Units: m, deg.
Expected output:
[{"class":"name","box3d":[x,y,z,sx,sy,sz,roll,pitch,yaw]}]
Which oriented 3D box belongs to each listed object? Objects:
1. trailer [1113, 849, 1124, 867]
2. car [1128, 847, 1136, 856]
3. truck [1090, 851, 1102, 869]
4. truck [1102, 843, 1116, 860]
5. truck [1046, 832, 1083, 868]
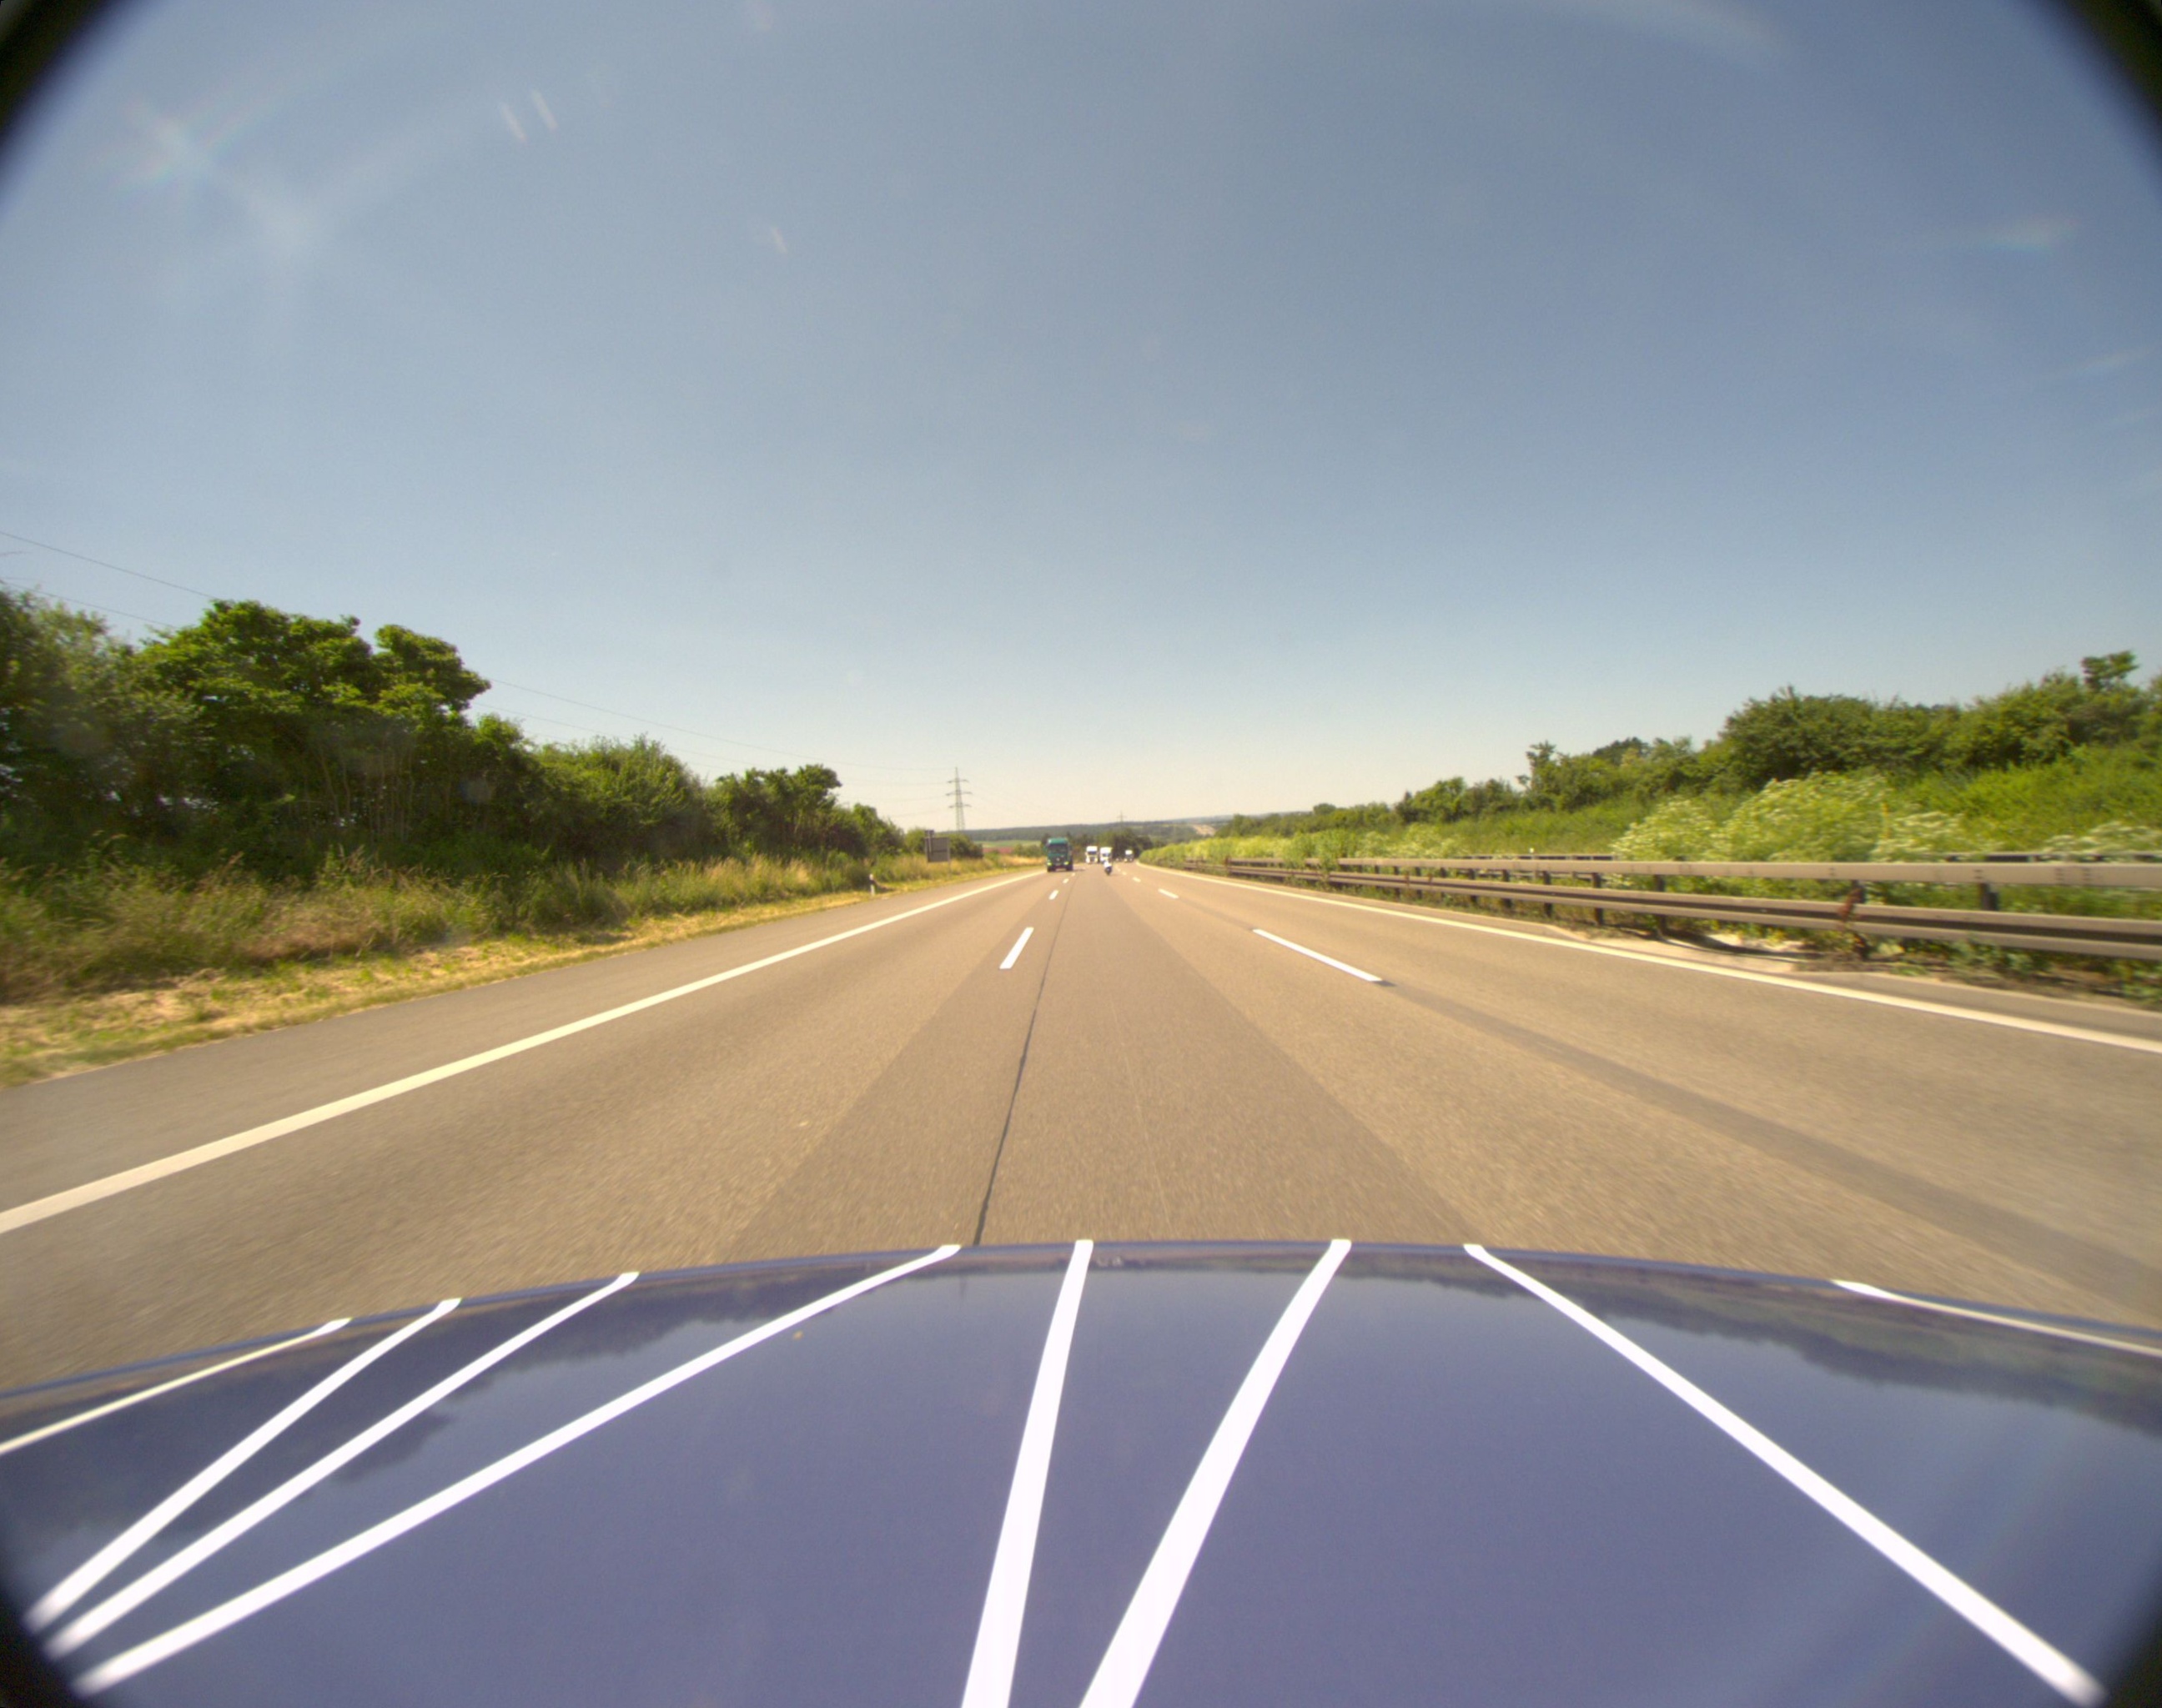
[{"class":"trailer","box3d":[9.293,1.009,190.036,2.607,4.239,13.035,-2,0,2]},{"class":"car","box3d":[11.754,-0.594,176.577,1.704,1.958,4.000,-2,0,2]},{"class":"truck","box3d":[3.664,1.307,182.029,2.567,4.129,6.249,-2,0,2]},{"class":"truck","box3d":[5.702,-0.461,154.503,2.512,3.268,8.107,-1,0,2]},{"class":"truck","box3d":[-1.782,-0.456,87.270,2.871,3.702,12.766,-2,0,4]}]
